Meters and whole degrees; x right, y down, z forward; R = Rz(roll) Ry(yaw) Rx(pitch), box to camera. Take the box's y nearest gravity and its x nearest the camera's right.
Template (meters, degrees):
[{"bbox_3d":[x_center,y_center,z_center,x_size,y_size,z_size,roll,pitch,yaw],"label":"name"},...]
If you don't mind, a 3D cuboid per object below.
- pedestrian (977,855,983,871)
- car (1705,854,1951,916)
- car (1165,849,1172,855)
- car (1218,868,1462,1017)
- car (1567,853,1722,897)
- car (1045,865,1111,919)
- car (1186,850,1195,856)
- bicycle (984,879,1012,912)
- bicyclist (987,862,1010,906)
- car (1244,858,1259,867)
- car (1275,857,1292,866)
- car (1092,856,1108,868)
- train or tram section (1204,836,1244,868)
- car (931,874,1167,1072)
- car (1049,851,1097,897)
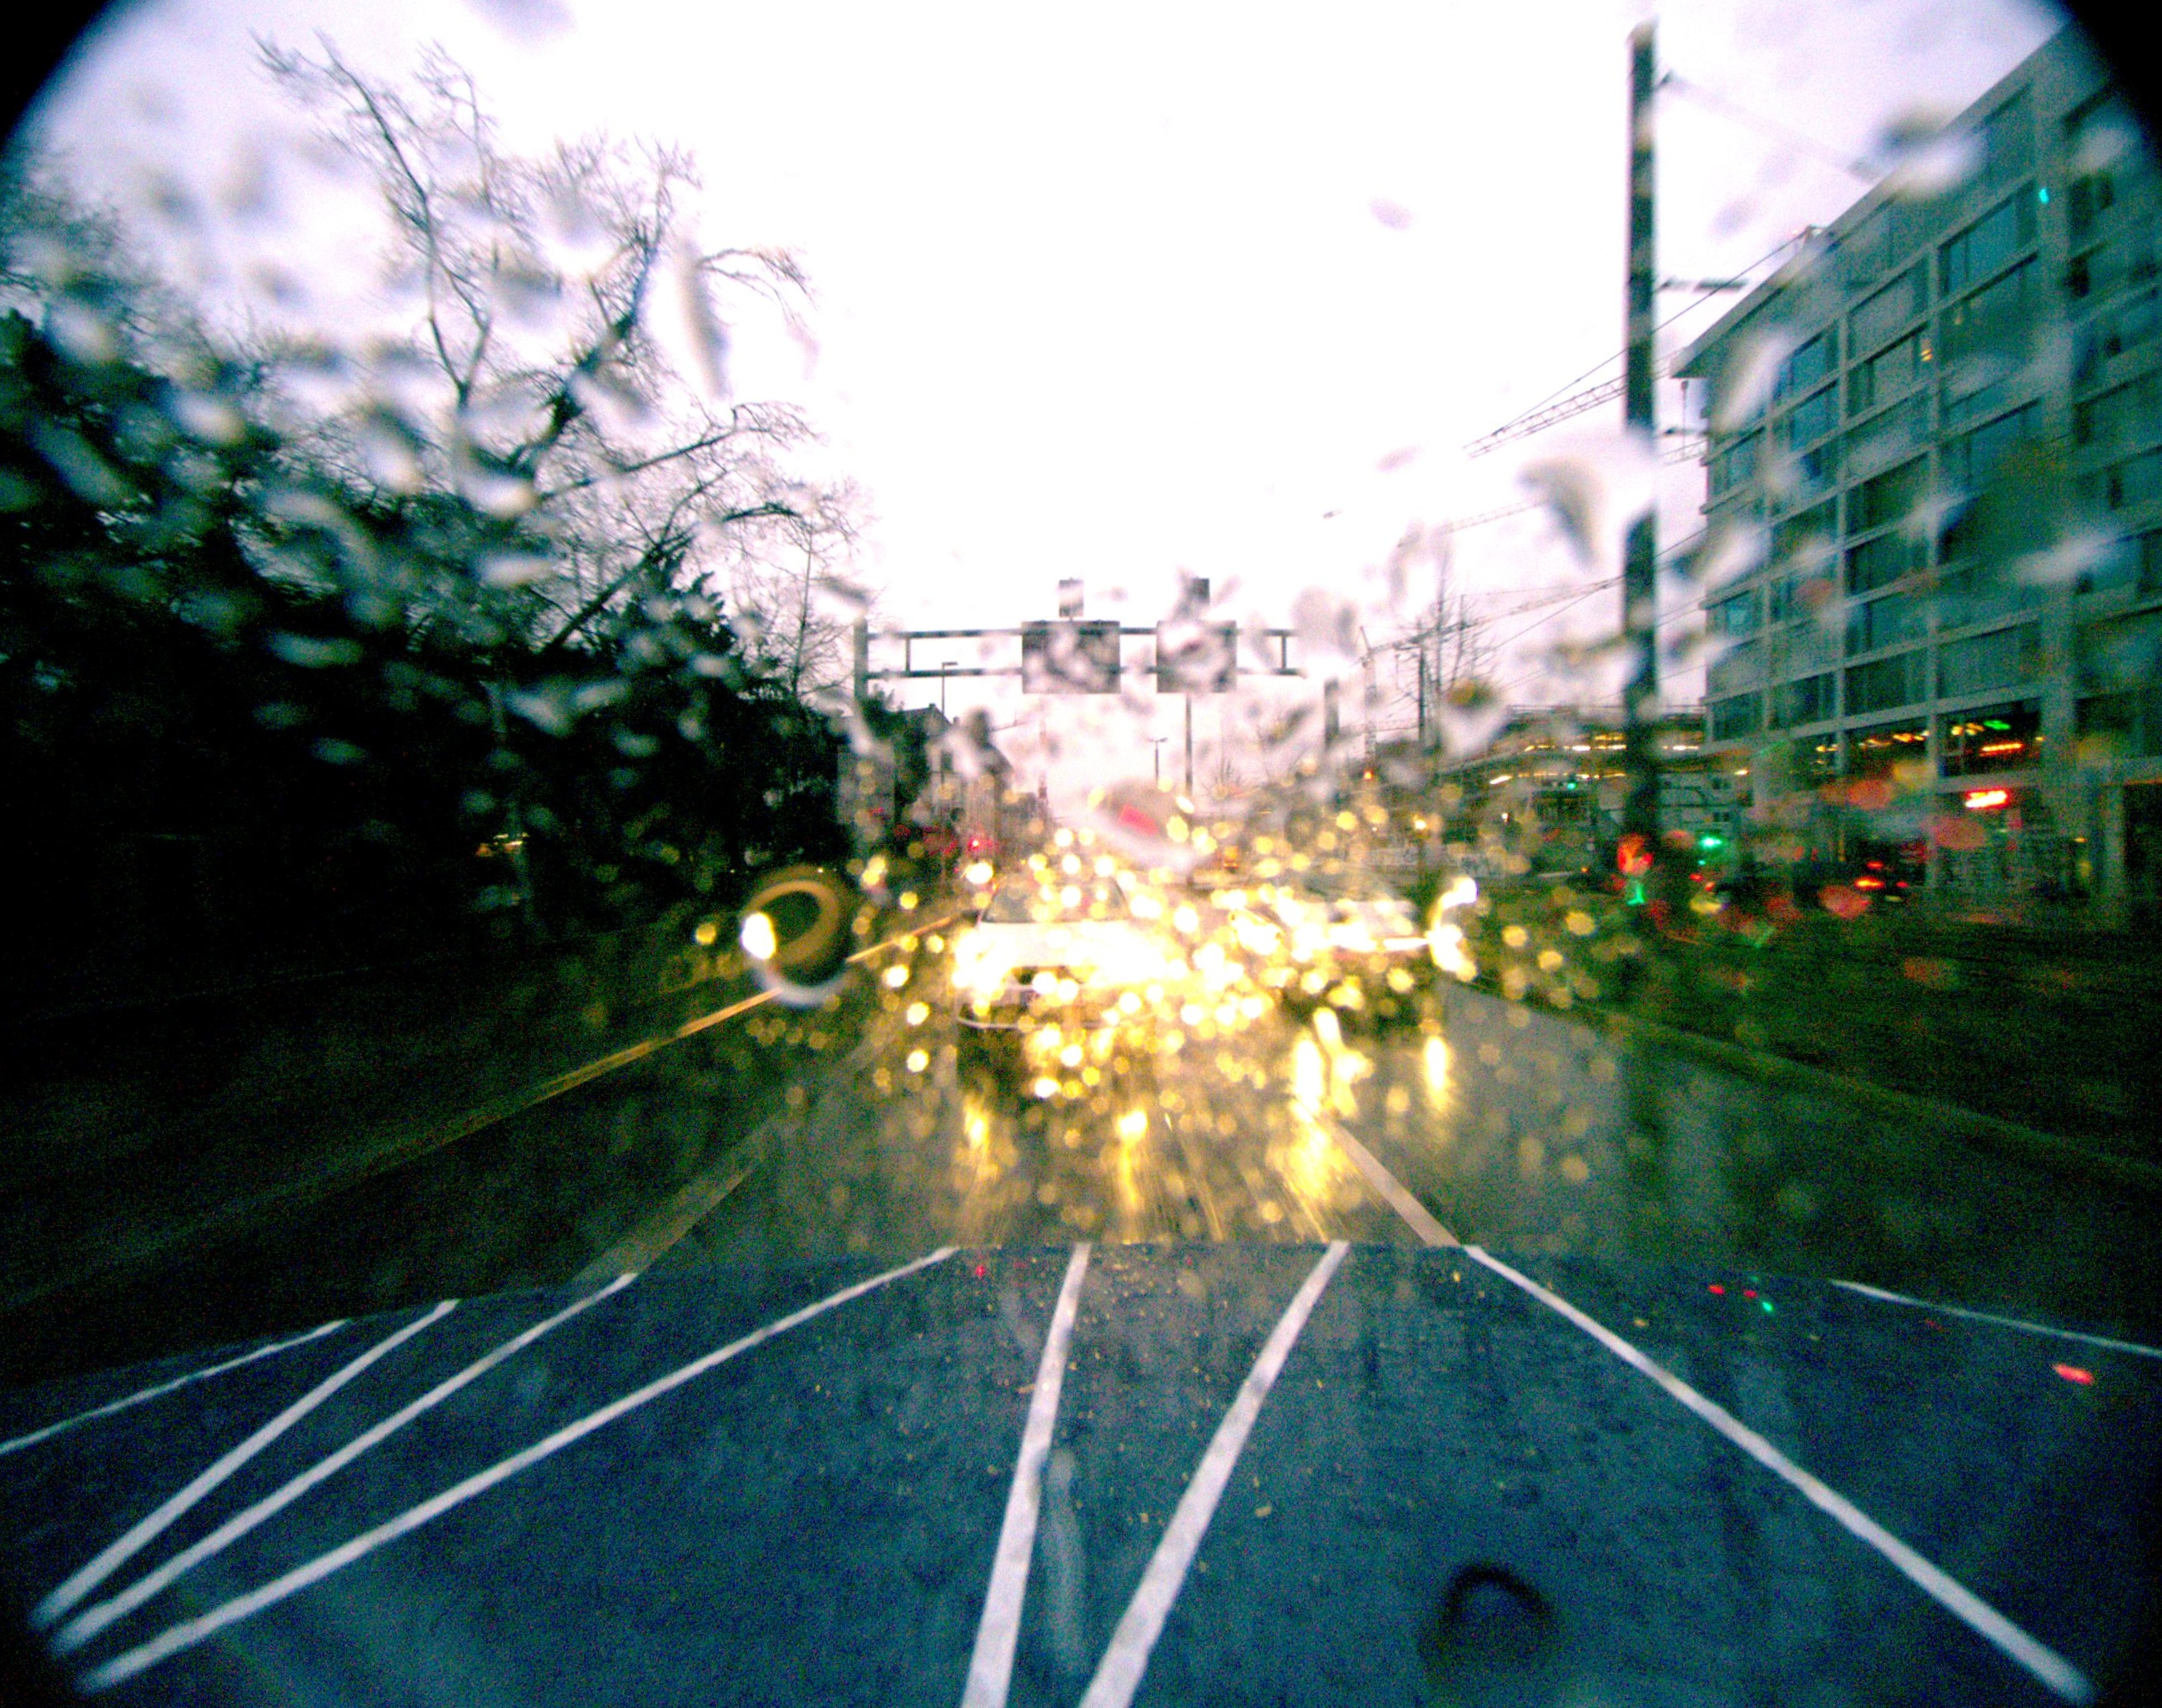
[{"bbox_3d":[-9.545,0.856,71.931,0.521,1.501,0.588,0,0,1],"label":"pedestrian"},{"bbox_3d":[20.317,0.765,20.971,2.001,1.488,4.444,0,0,-15],"label":"car"},{"bbox_3d":[29.460,-0.793,256.812,1.998,2.002,4.000,0,0,1],"label":"car"},{"bbox_3d":[2.971,0.934,9.650,1.767,1.363,3.981,-2,0,1],"label":"car"},{"bbox_3d":[20.326,0.696,27.756,1.998,1.459,5.034,0,0,1],"label":"car"},{"bbox_3d":[-0.084,1.057,22.340,1.728,1.318,3.981,-2,0,0],"label":"car"},{"bbox_3d":[32.982,-0.176,229.299,1.999,1.812,3.999,0,0,-2],"label":"car"},{"bbox_3d":[-2.636,1.317,24.375,0.647,0.961,2.046,0,0,0],"label":"bicycle"},{"bbox_3d":[-2.637,0.945,24.351,0.647,1.381,0.890,0,0,0],"label":"bicyclist"},{"bbox_3d":[30.272,1.418,135.190,1.998,1.556,4.001,0,0,3],"label":"car"},{"bbox_3d":[35.606,1.272,133.658,1.998,1.556,4.001,0,0,3],"label":"car"},{"bbox_3d":[2.352,1.030,94.592,1.767,1.363,3.980,-2,0,-1],"label":"car"},{"bbox_3d":[16.897,-0.185,90.851,2.964,3.466,14.269,0,0,3],"label":"train or tram section"},{"bbox_3d":[-0.254,0.979,7.905,1.798,1.363,3.981,-2,0,0],"label":"car"},{"bbox_3d":[-0.310,0.749,30.564,1.781,1.666,3.981,-2,0,0],"label":"car"}]
